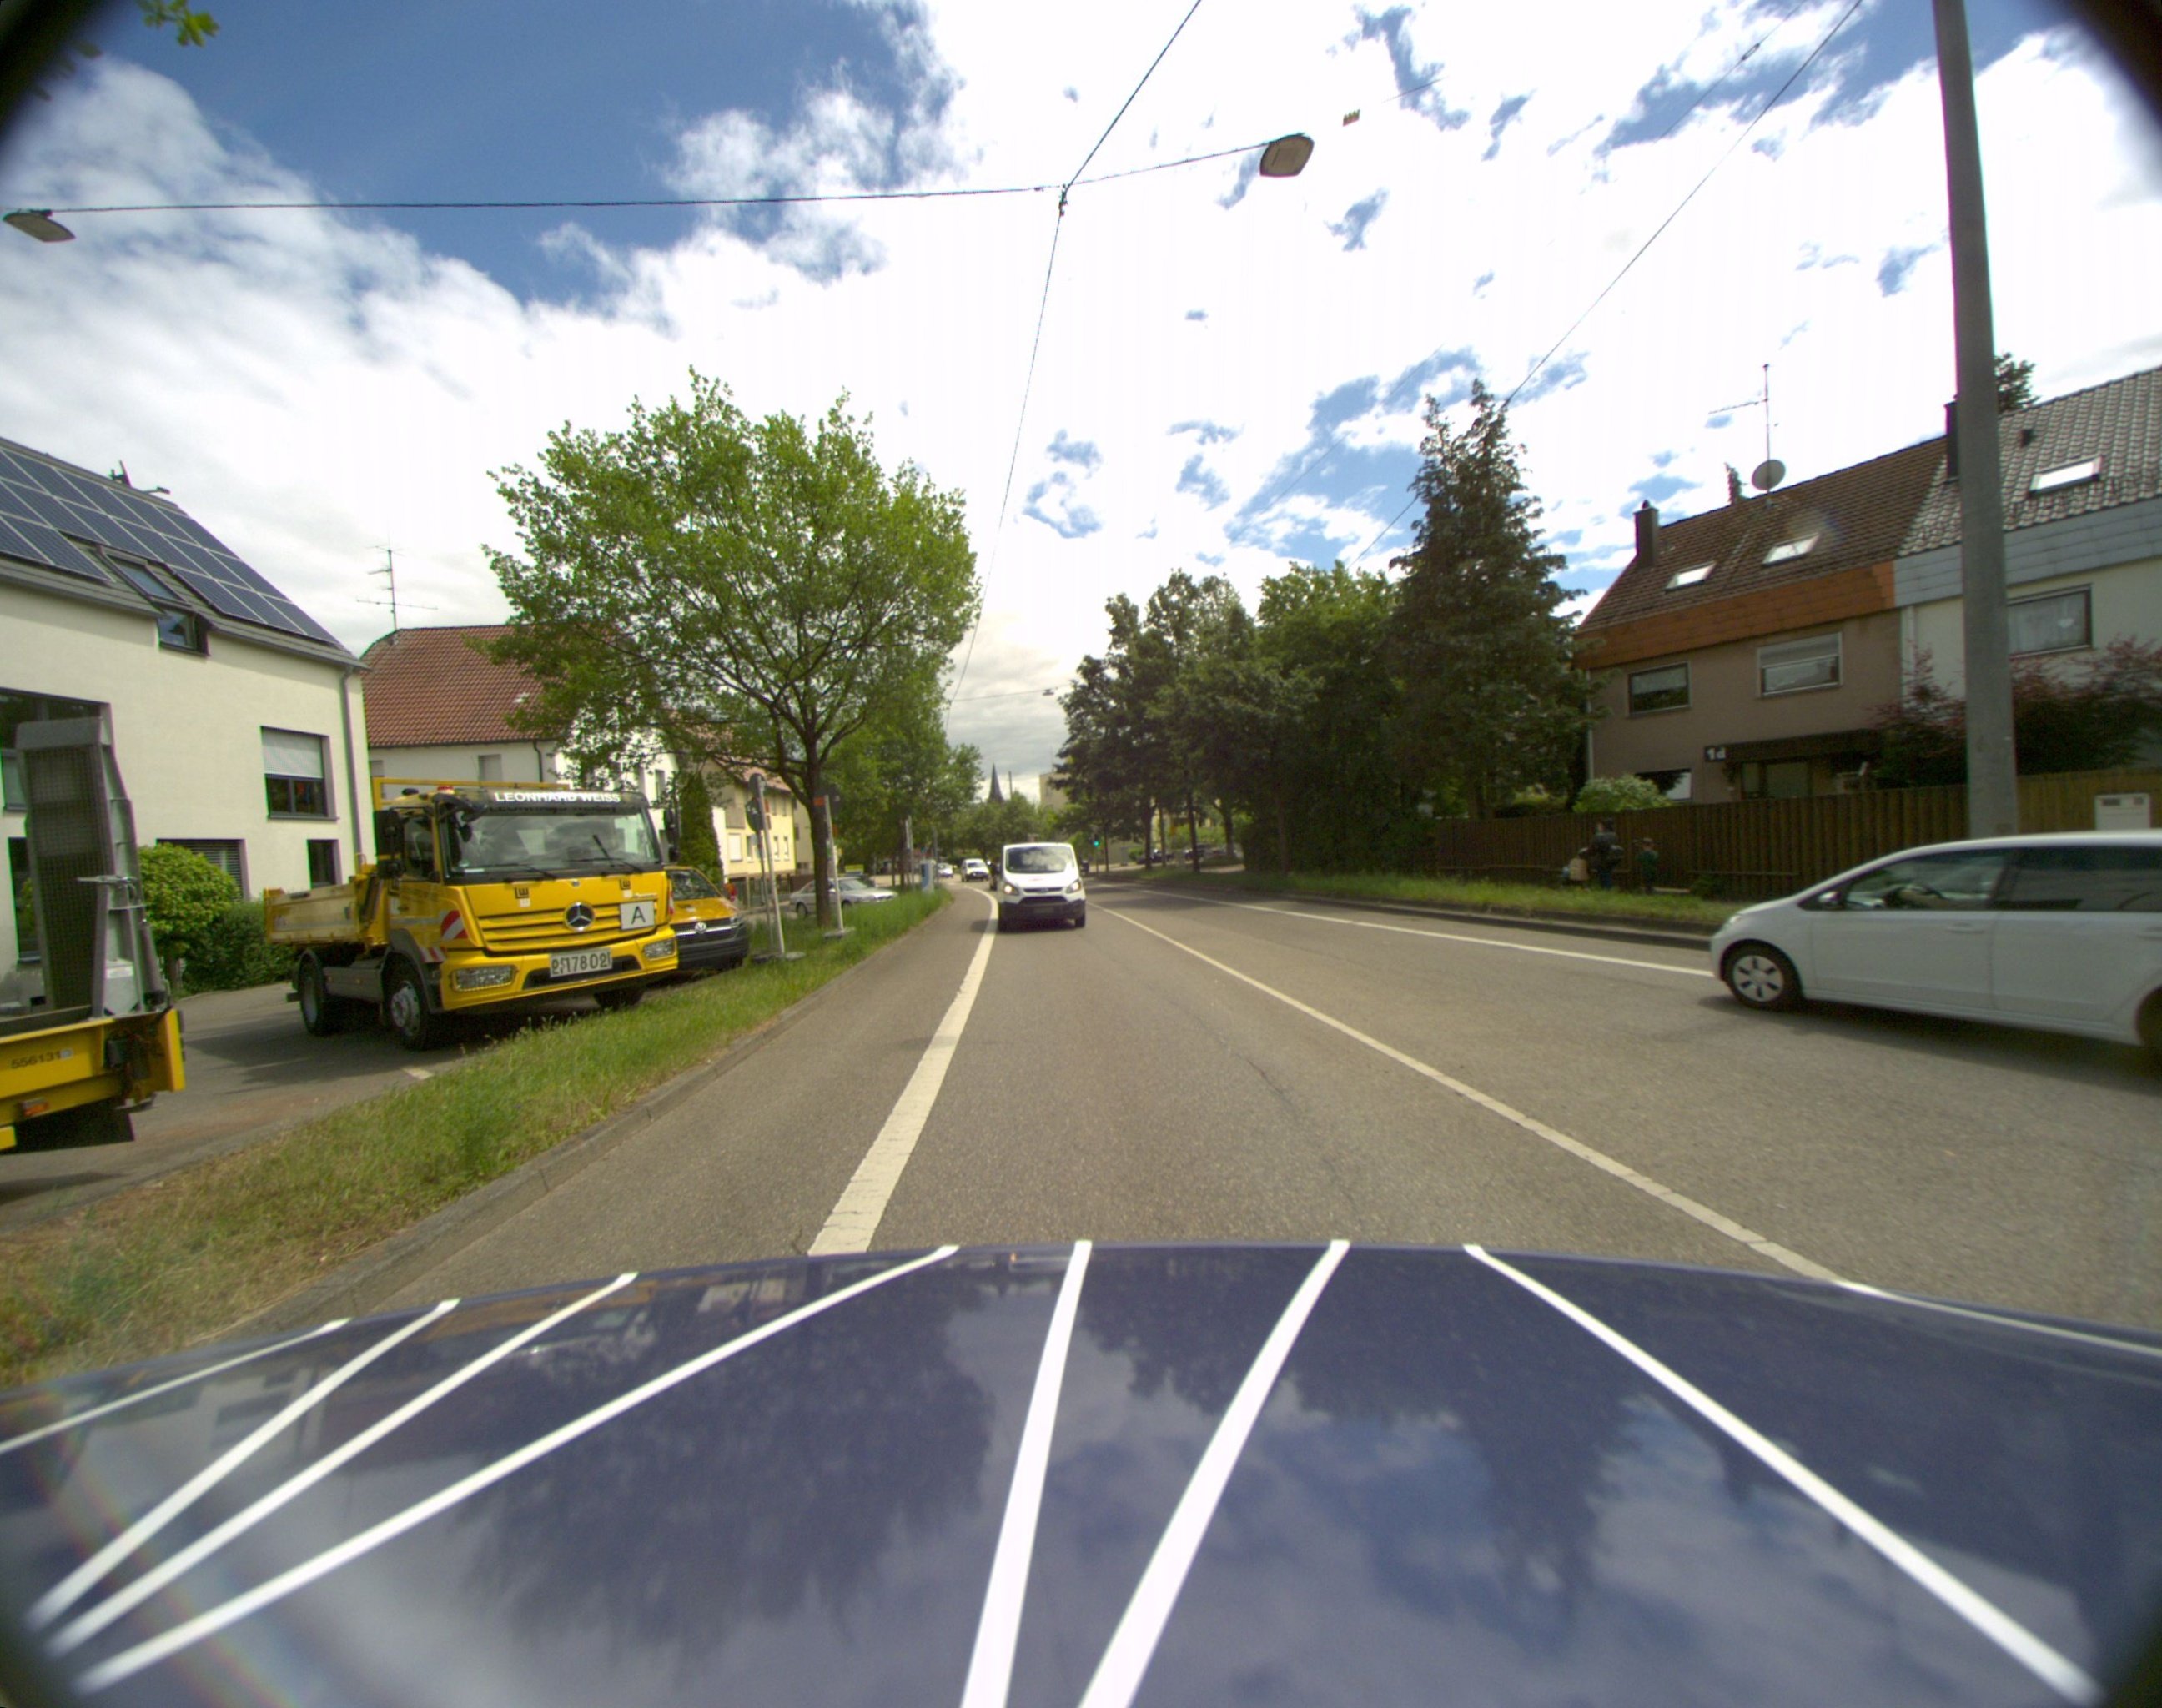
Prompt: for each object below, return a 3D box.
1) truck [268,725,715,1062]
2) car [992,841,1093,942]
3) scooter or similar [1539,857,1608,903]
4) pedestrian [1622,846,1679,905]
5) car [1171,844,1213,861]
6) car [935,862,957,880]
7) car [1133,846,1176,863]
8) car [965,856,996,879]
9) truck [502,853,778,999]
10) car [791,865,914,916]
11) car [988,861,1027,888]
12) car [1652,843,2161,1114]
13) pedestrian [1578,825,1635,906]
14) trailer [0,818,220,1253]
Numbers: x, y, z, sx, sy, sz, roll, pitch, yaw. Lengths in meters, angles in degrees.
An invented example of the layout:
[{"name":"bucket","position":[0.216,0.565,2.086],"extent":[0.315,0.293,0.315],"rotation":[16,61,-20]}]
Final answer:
[{"name":"truck","position":[-7.921,0.649,9.897],"extent":[6.617,3.179,2.347],"rotation":[-6,-2,32]},{"name":"car","position":[-0.986,0.746,18.862],"extent":[1.999,2.002,5.510],"rotation":[-4,2,-3]},{"name":"scooter or similar","position":[9.900,0.508,15.294],"extent":[0.638,0.859,1.030],"rotation":[-3,1,-5]},{"name":"pedestrian","position":[10.888,0.399,14.547],"extent":[0.556,1.080,0.641],"rotation":[-3,1,-5]},{"name":"car","position":[11.998,-0.172,82.235],"extent":[4.005,1.499,1.995],"rotation":[-4,1,-31]},{"name":"car","position":[-13.835,1.665,77.663],"extent":[2.000,1.652,3.996],"rotation":[-4,1,-11]},{"name":"car","position":[7.667,0.018,79.307],"extent":[4.006,1.499,1.995],"rotation":[-4,1,-33]},{"name":"car","position":[-8.206,1.075,61.517],"extent":[2.001,1.719,4.099],"rotation":[-4,1,-13]},{"name":"truck","position":[-7.975,1.238,13.425],"extent":[5.943,2.001,2.004],"rotation":[-5,-1,38]},{"name":"car","position":[-8.104,1.247,26.817],"extent":[4.295,1.569,2.004],"rotation":[-2,1,38]},{"name":"car","position":[-4.383,1.207,45.824],"extent":[1.999,1.390,3.999],"rotation":[-2,0,-1]},{"name":"car","position":[6.784,0.710,5.580],"extent":[1.699,1.504,3.996],"rotation":[-2,1,-12]},{"name":"pedestrian","position":[9.986,0.205,14.448],"extent":[0.556,1.472,0.641],"rotation":[-3,1,-5]},{"name":"trailer","position":[-6.825,1.050,1.984],"extent":[2.599,2.232,5.672],"rotation":[-5,1,-2]}]
